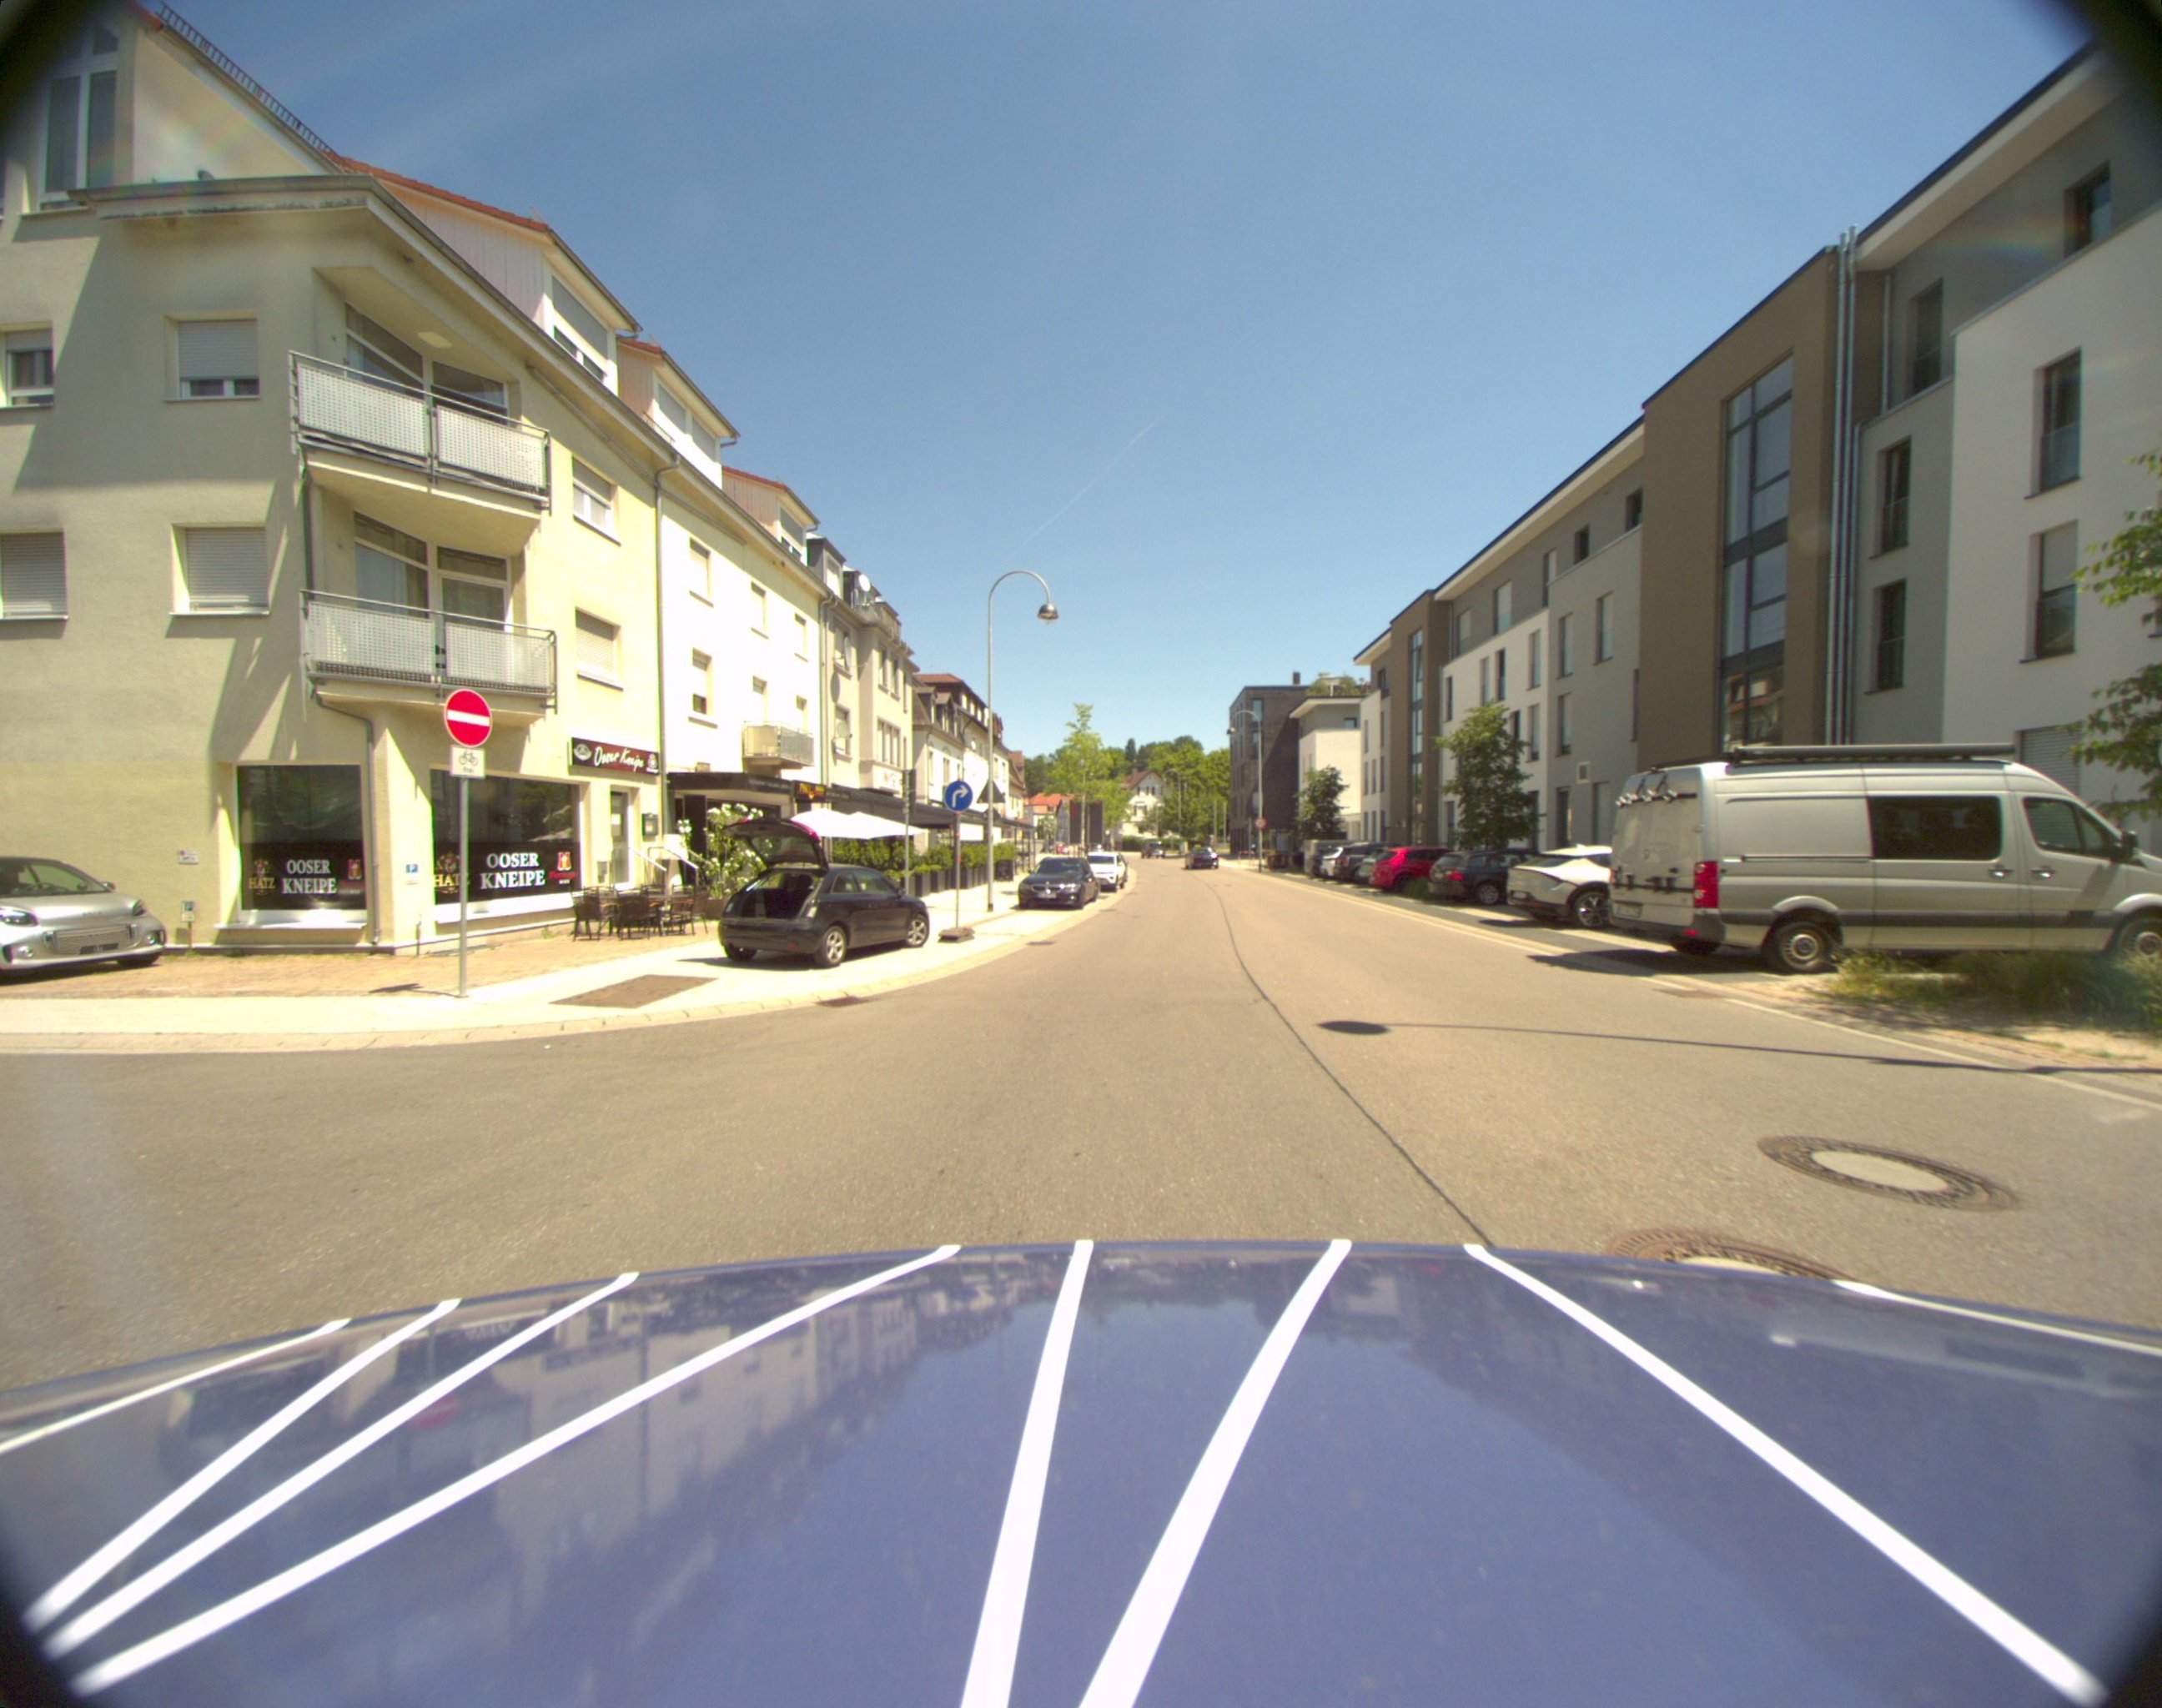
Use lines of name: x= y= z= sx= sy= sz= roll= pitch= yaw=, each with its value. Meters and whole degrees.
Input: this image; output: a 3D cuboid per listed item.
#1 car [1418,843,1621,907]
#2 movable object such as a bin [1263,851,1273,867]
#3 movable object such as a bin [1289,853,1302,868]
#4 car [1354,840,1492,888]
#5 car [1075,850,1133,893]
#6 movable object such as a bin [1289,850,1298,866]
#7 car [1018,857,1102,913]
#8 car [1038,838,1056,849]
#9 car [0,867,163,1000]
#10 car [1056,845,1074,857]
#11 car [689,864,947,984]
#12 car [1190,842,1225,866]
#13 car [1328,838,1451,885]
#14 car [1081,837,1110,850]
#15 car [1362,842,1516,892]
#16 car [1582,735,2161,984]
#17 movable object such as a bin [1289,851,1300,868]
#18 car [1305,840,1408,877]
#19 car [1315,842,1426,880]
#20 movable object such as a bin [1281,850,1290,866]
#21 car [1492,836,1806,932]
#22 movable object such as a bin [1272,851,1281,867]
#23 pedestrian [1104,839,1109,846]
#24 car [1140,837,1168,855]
car: x=11.338 y=0.518 z=19.866 sx=4.210 sy=1.429 sz=1.885 roll=-2 pitch=1 yaw=0
movable object such as a bin: x=11.662 y=0.305 z=47.285 sx=0.484 sy=0.992 sz=0.588 roll=-1 pitch=2 yaw=3
movable object such as a bin: x=12.349 y=0.376 z=43.744 sx=0.556 sy=0.863 sz=0.481 roll=-1 pitch=2 yaw=-13
car: x=12.069 y=0.345 z=27.066 sx=4.040 sy=1.488 sz=2.000 roll=-2 pitch=1 yaw=7
car: x=0.992 y=0.639 z=30.263 sx=1.740 sy=1.477 sz=4.056 roll=2 pitch=2 yaw=10
movable object such as a bin: x=13.203 y=0.268 z=47.272 sx=0.404 sy=0.992 sz=0.556 roll=-1 pitch=2 yaw=3
car: x=-0.517 y=0.852 z=22.811 sx=1.727 sy=1.397 sz=4.611 roll=1 pitch=1 yaw=8
car: x=-4.837 y=-1.466 z=108.018 sx=1.736 sy=1.464 sz=4.317 roll=1 pitch=1 yaw=-15
car: x=-13.779 y=0.962 z=9.514 sx=2.733 sy=1.463 sz=1.530 roll=-1 pitch=2 yaw=4
car: x=-1.975 y=-0.368 z=94.816 sx=1.685 sy=1.505 sz=3.383 roll=-1 pitch=1 yaw=-10
car: x=-3.872 y=0.929 z=11.959 sx=1.874 sy=1.483 sz=3.867 roll=1 pitch=0 yaw=18
car: x=8.616 y=-0.017 z=52.097 sx=1.898 sy=1.544 sz=4.800 roll=-2 pitch=0 yaw=5
car: x=12.020 y=0.255 z=29.859 sx=4.040 sy=1.642 sz=2.000 roll=-2 pitch=1 yaw=7
car: x=2.005 y=-1.456 z=103.988 sx=1.951 sy=1.649 sz=4.224 roll=-3 pitch=2 yaw=-32
car: x=11.442 y=0.395 z=24.540 sx=4.040 sy=1.422 sz=2.000 roll=-2 pitch=1 yaw=7
car: x=10.269 y=0.062 z=9.938 sx=5.779 sy=2.717 sz=2.292 roll=-2 pitch=2 yaw=5
movable object such as a bin: x=12.463 y=0.327 z=44.300 sx=0.555 sy=0.992 sz=0.427 roll=-1 pitch=2 yaw=6
car: x=12.502 y=0.181 z=34.706 sx=3.995 sy=1.507 sz=2.000 roll=-2 pitch=1 yaw=6
car: x=12.269 y=0.284 z=32.401 sx=3.995 sy=1.413 sz=1.910 roll=-2 pitch=2 yaw=5
movable object such as a bin: x=12.718 y=0.253 z=47.262 sx=0.404 sy=0.992 sz=0.556 roll=-1 pitch=2 yaw=3
car: x=10.734 y=0.531 z=14.666 sx=4.463 sy=1.582 sz=2.000 roll=-2 pitch=1 yaw=4
movable object such as a bin: x=12.156 y=0.291 z=47.278 sx=0.404 sy=0.992 sz=0.556 roll=-1 pitch=2 yaw=3
pedestrian: x=3.950 y=-1.848 z=117.882 sx=0.598 sy=1.053 sz=0.566 roll=-2 pitch=2 yaw=-16
car: x=7.383 y=-0.817 z=76.861 sx=1.817 sy=1.692 sz=4.071 roll=-1 pitch=2 yaw=-10
